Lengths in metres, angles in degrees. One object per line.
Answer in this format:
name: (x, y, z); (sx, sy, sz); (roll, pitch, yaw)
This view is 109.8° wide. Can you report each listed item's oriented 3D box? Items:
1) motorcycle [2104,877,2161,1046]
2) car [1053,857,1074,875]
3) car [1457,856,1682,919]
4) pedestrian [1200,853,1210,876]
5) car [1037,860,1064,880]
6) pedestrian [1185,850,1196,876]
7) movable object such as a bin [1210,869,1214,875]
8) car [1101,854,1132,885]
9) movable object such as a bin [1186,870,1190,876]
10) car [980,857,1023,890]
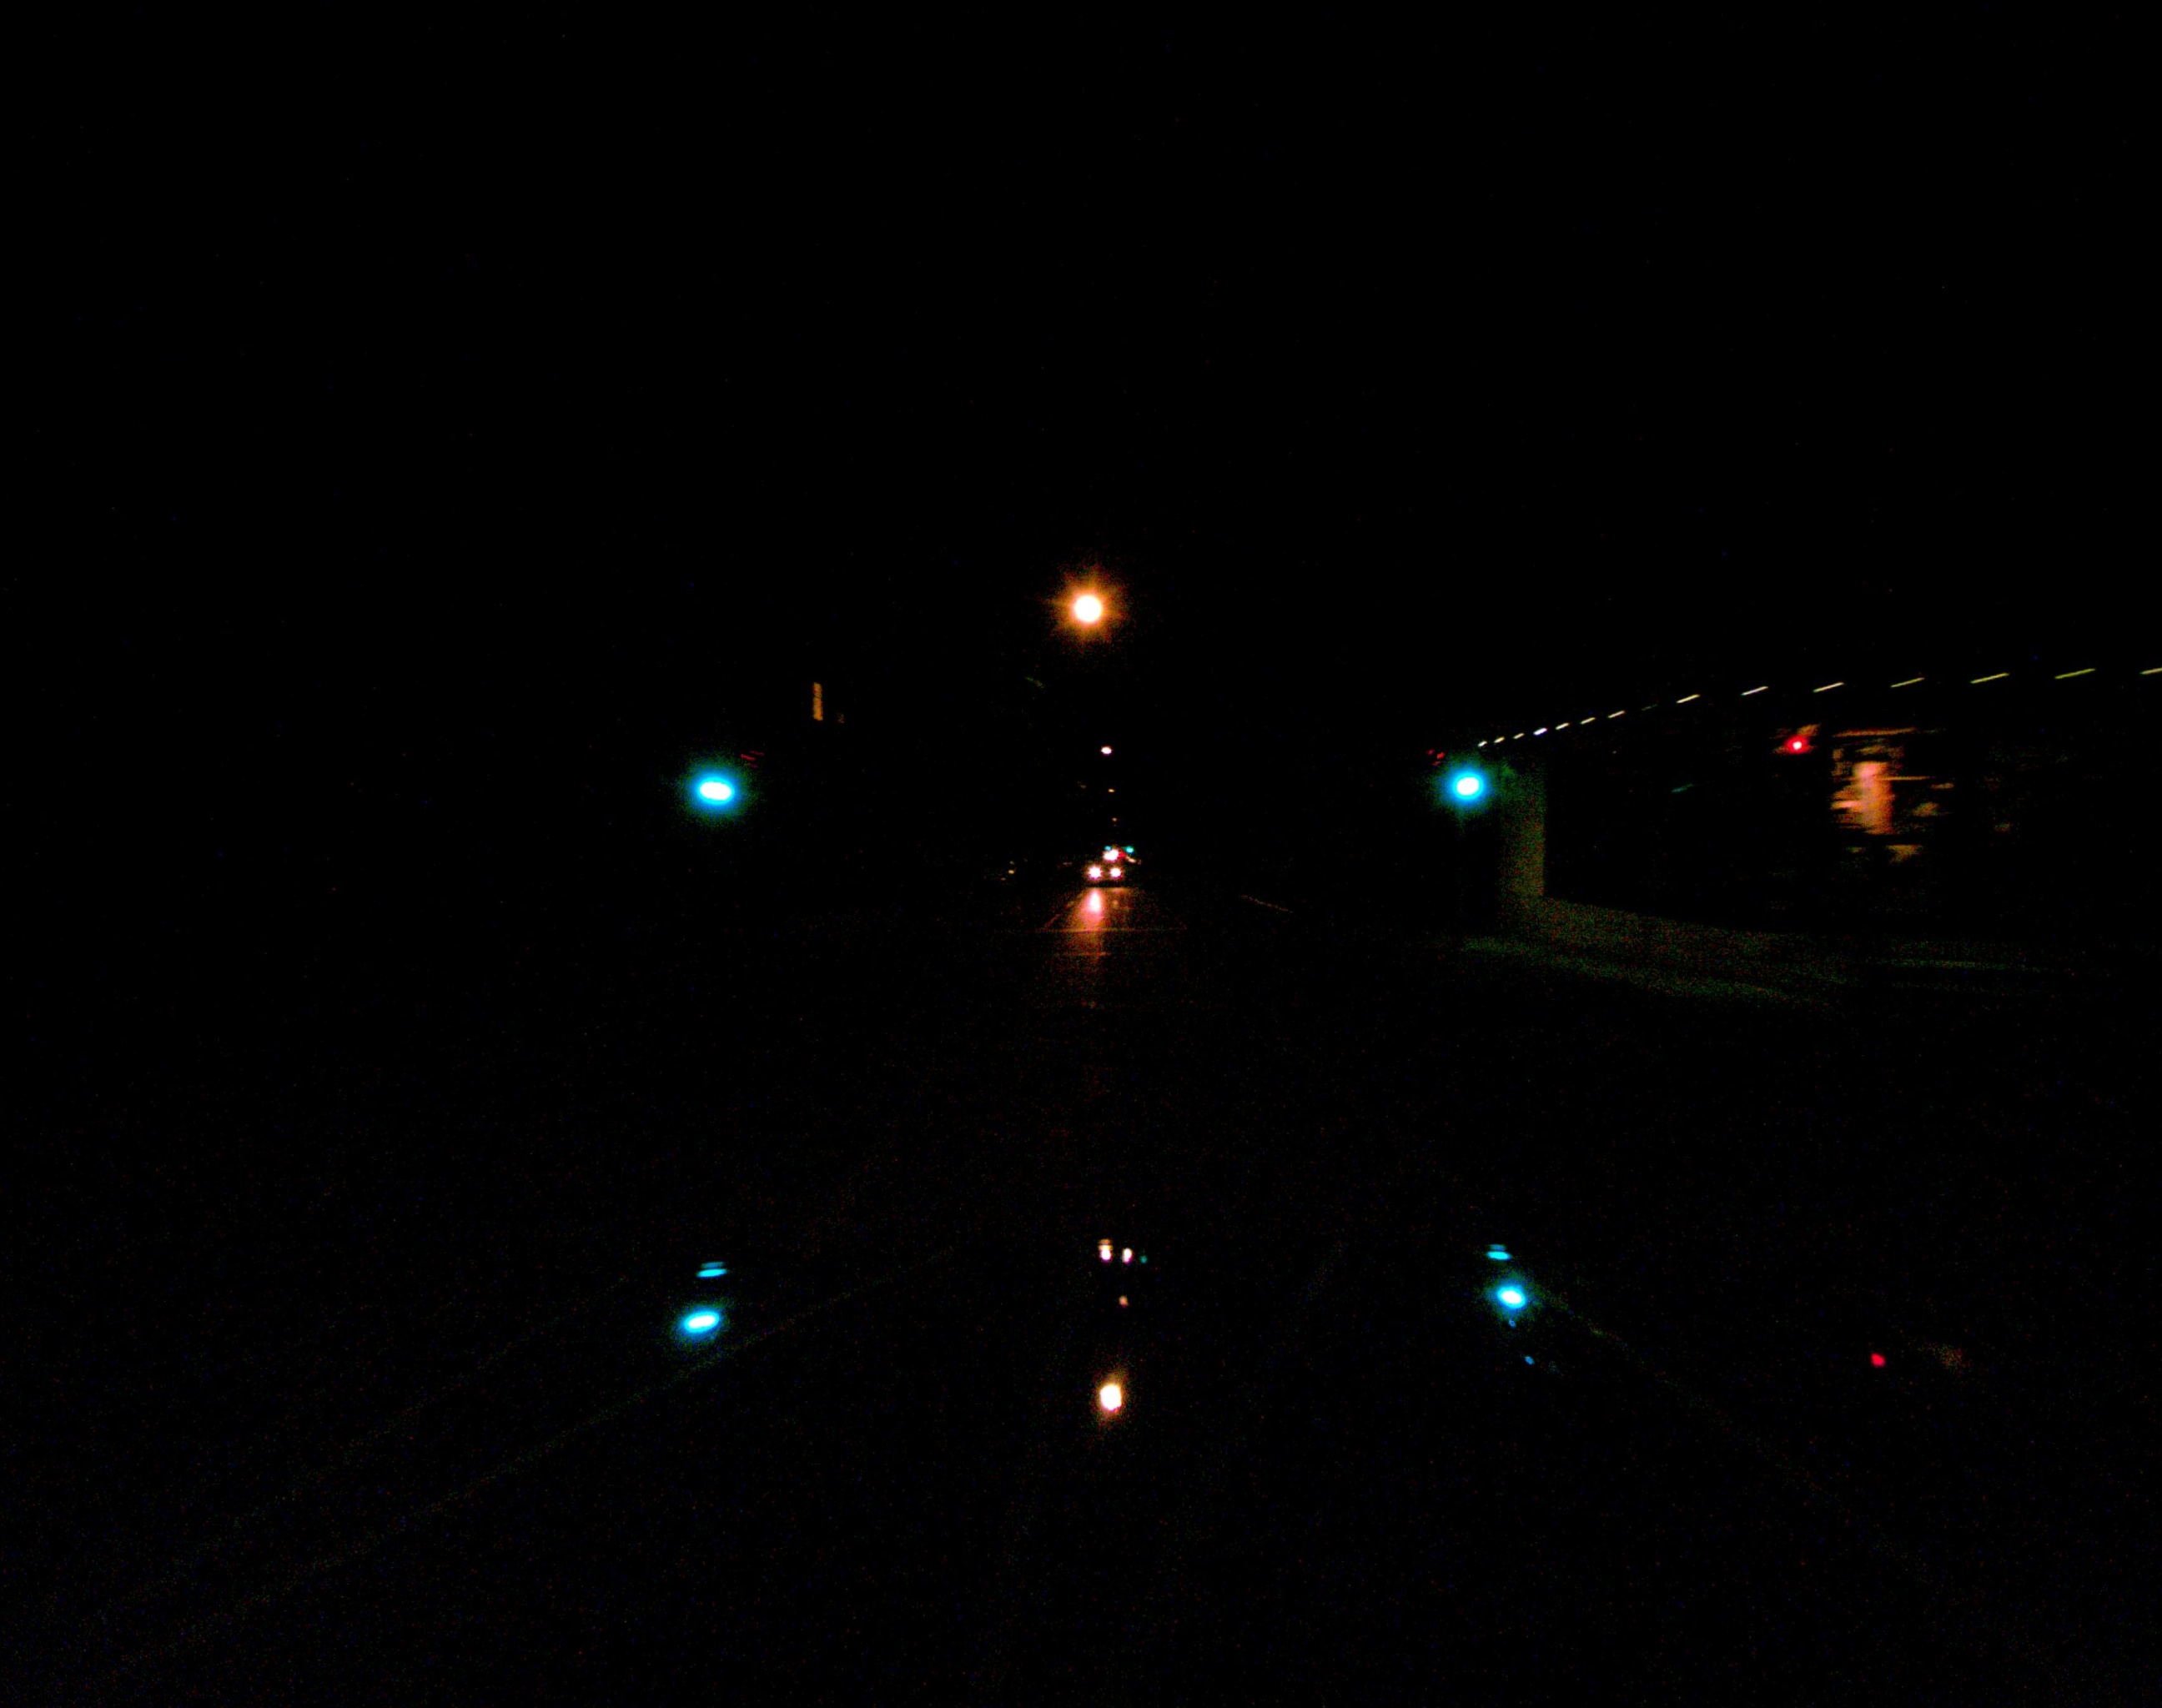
motorcycle: (8.781, 0.784, 5.213); (0.619, 1.222, 2.035); (-3, 1, -42)
car: (-1.581, 1.079, 68.653); (1.535, 1.583, 3.557); (1, 0, 4)
car: (11.093, 0.737, 17.477); (3.996, 1.355, 1.803); (0, 0, 2)
pedestrian: (8.181, 0.670, 50.266); (0.561, 1.521, 0.590); (-2, 1, 3)
car: (-2.199, 1.154, 55.216); (1.535, 1.407, 3.409); (1, 0, 4)
pedestrian: (7.172, 0.595, 49.632); (0.649, 1.632, 0.748); (-2, 0, 5)
movable object such as a bin: (8.632, 1.173, 50.184); (0.231, 0.404, 0.467); (-2, 0, 5)
car: (1.836, 0.782, 40.304); (1.513, 1.493, 3.049); (-3, 1, 1)
movable object such as a bin: (7.202, 1.261, 50.942); (0.231, 0.350, 0.467); (-2, 0, 5)
car: (-3.759, 0.901, 36.437); (1.626, 1.485, 3.408); (1, 0, 1)
